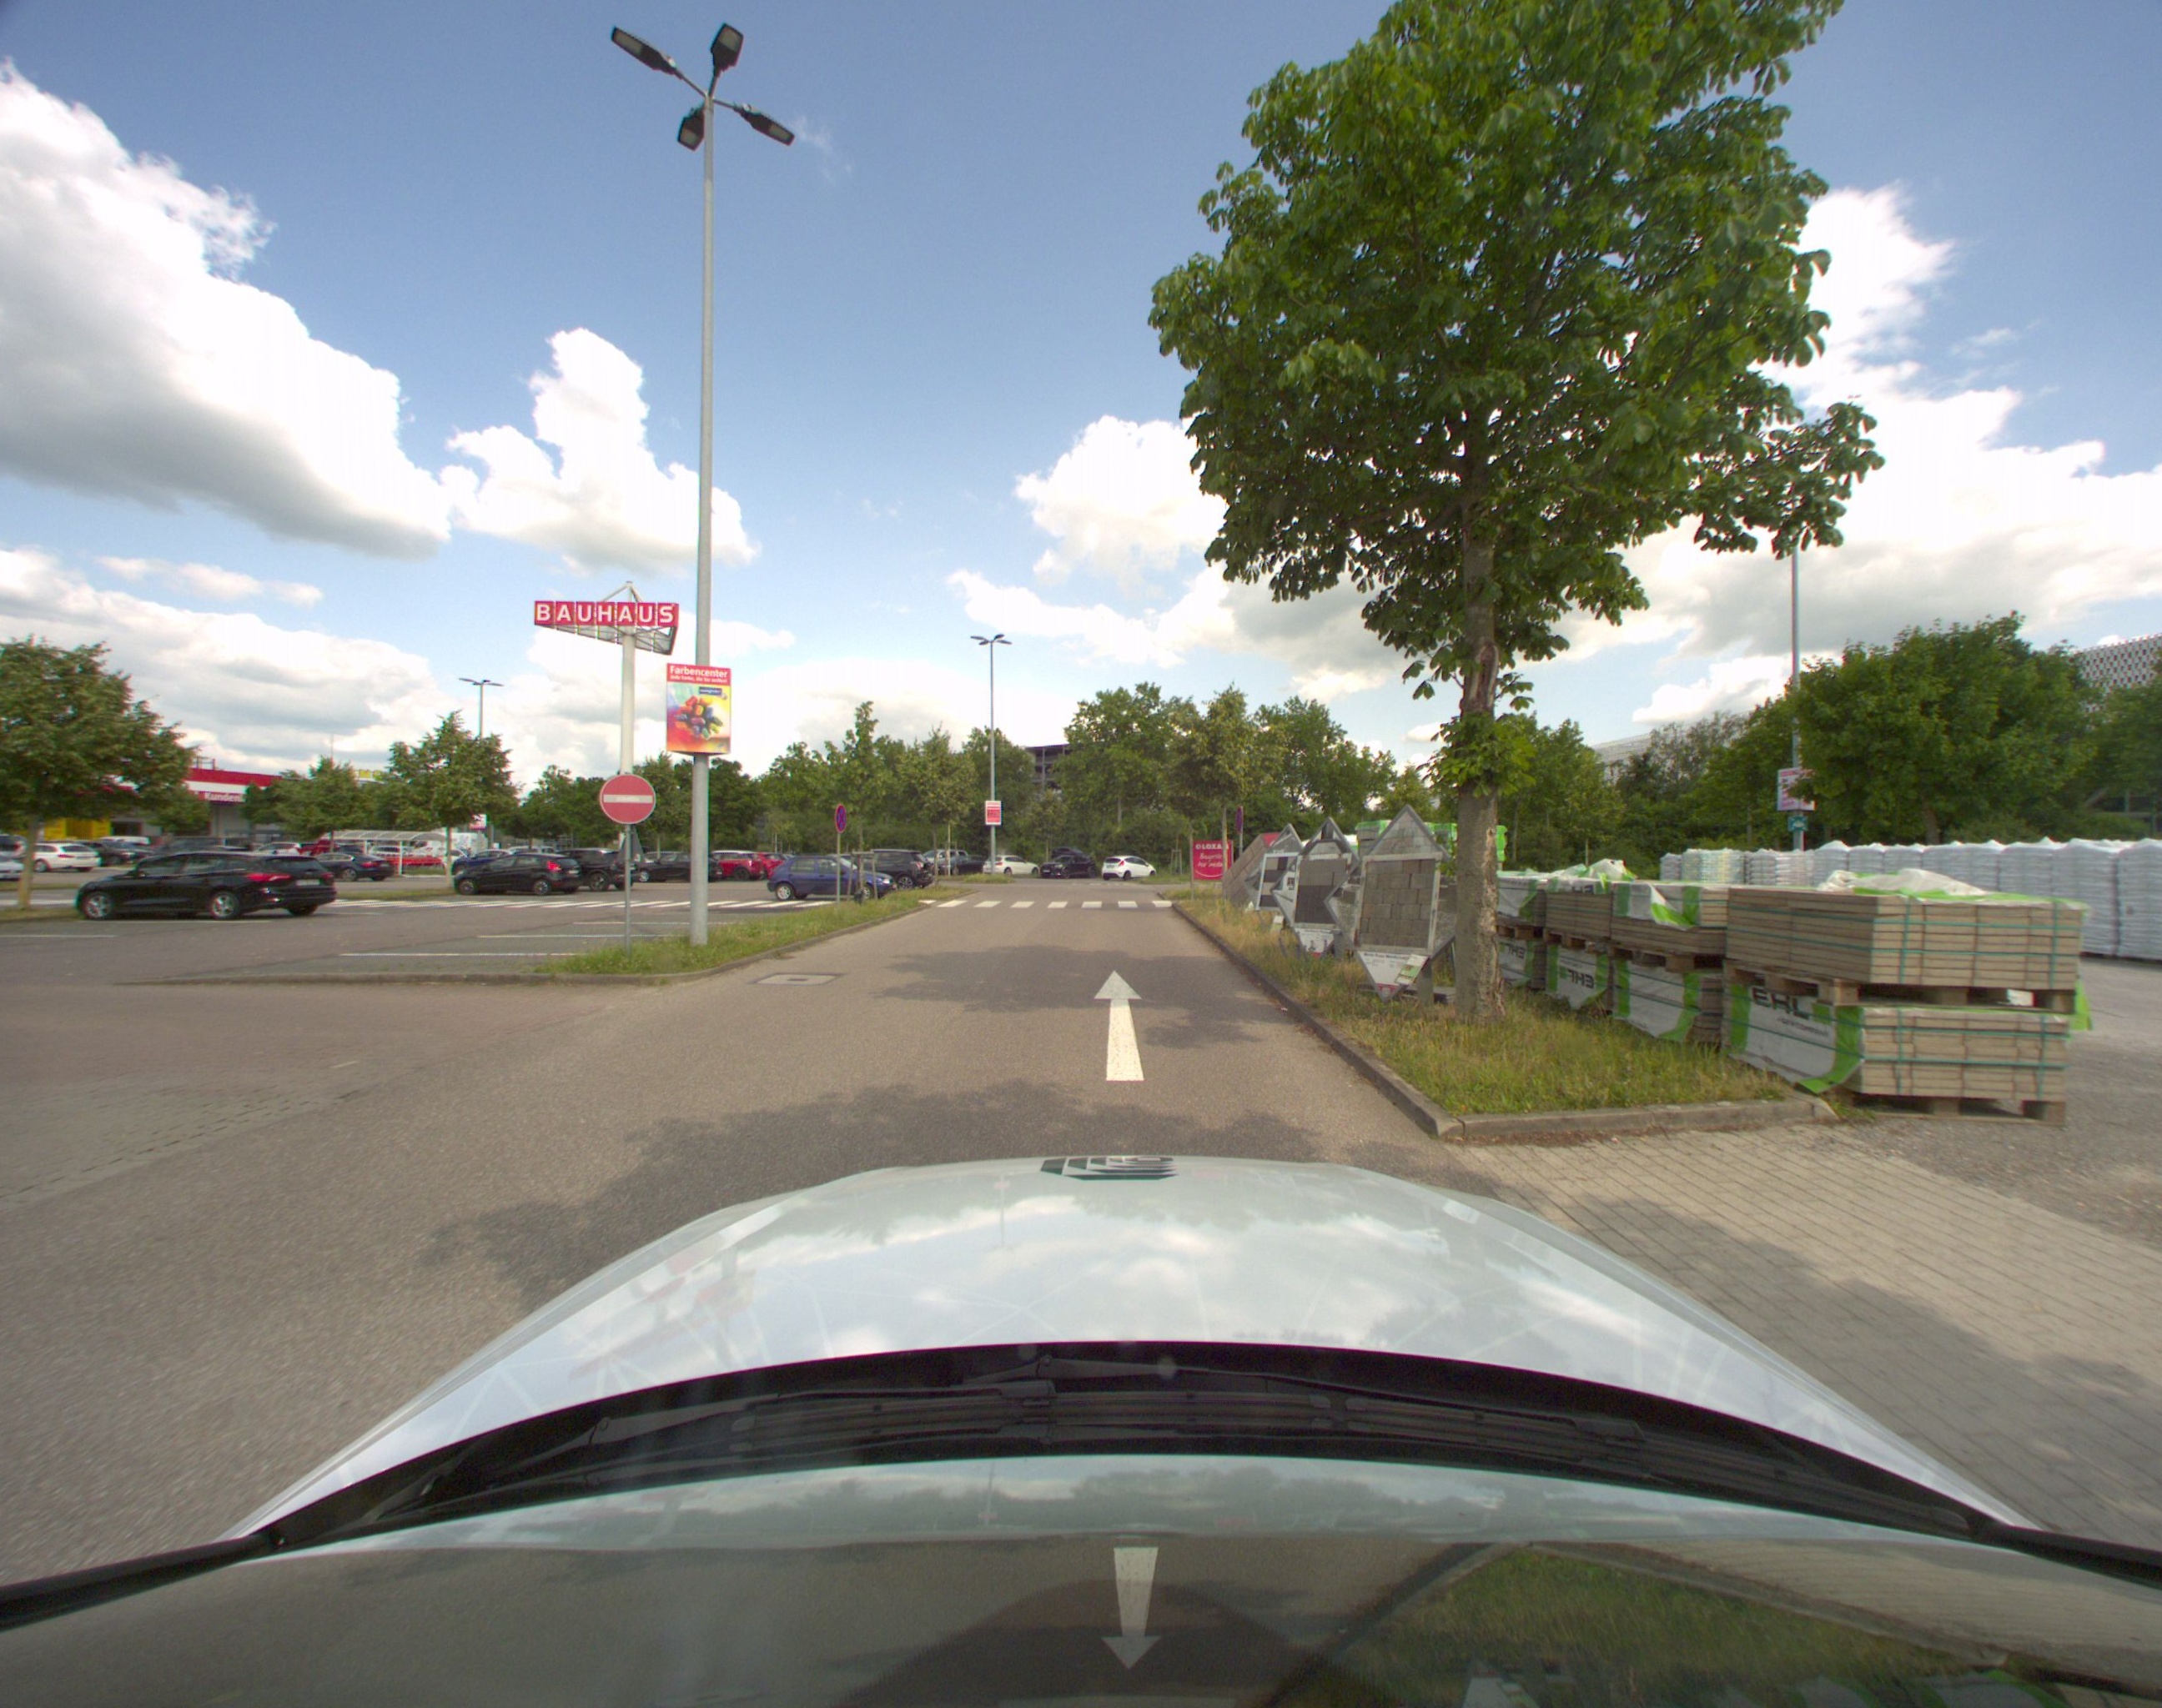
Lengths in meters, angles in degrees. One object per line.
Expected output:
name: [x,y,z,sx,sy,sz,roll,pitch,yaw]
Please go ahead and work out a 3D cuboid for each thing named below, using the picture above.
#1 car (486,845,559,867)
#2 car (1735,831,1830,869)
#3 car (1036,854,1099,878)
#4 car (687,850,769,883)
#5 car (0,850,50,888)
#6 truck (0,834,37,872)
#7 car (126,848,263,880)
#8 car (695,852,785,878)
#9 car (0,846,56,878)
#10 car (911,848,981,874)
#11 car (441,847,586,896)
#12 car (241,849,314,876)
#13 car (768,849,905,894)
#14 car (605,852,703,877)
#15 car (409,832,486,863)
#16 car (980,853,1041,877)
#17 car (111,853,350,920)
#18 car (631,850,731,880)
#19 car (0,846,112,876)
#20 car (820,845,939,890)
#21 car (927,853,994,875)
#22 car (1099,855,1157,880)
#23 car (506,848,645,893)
car: [-40.913,0.163,59.689,3.974,1.596,1.910,0,0,-1]
car: [39.213,-0.216,45.605,3.949,2.013,2.012,0,0,41]
car: [-0.811,0.721,51.565,1.711,1.410,4.270,0,0,36]
car: [-17.845,0.615,41.272,3.425,1.581,1.709,0,0,-1]
car: [-42.146,0.556,31.071,3.534,1.386,1.745,0,0,3]
truck: [-60.991,-0.026,44.573,5.368,2.014,1.861,0,-3,3]
car: [-42.655,0.454,39.257,4.387,1.468,2.000,0,0,0]
car: [-18.332,0.579,43.882,4.062,1.399,1.766,0,0,-1]
car: [-52.044,0.399,39.149,3.216,1.509,1.727,0,-3,-1]
car: [-9.740,0.496,59.345,1.965,1.842,5.181,0,0,35]
car: [-19.530,0.601,28.174,3.687,1.624,1.781,0,0,-4]
car: [-53.001,0.535,53.765,3.146,1.743,1.602,0,1,0]
car: [-7.548,0.523,25.343,3.737,1.368,1.622,0,0,1]
car: [-23.114,0.553,44.204,4.255,1.353,1.893,0,0,-2]
car: [-52.476,-0.491,67.524,4.695,2.510,2.054,0,-1,1]
car: [-4.648,0.715,54.106,1.668,1.509,4.107,-1,-1,39]
car: [-18.828,0.700,18.160,3.335,1.404,1.810,0,0,-2]
car: [-19.033,0.497,38.845,3.858,1.369,1.729,0,0,0]
car: [-53.194,0.337,42.043,3.973,1.509,2.000,0,0,1]
car: [-7.458,0.480,30.348,3.933,1.624,1.738,0,0,3]
car: [-8.388,0.673,57.167,1.816,1.451,4.755,0,0,37]
car: [2.825,0.790,48.470,1.649,1.411,3.579,0,0,41]
car: [-18.896,0.606,30.544,4.058,1.624,1.783,0,0,-1]
